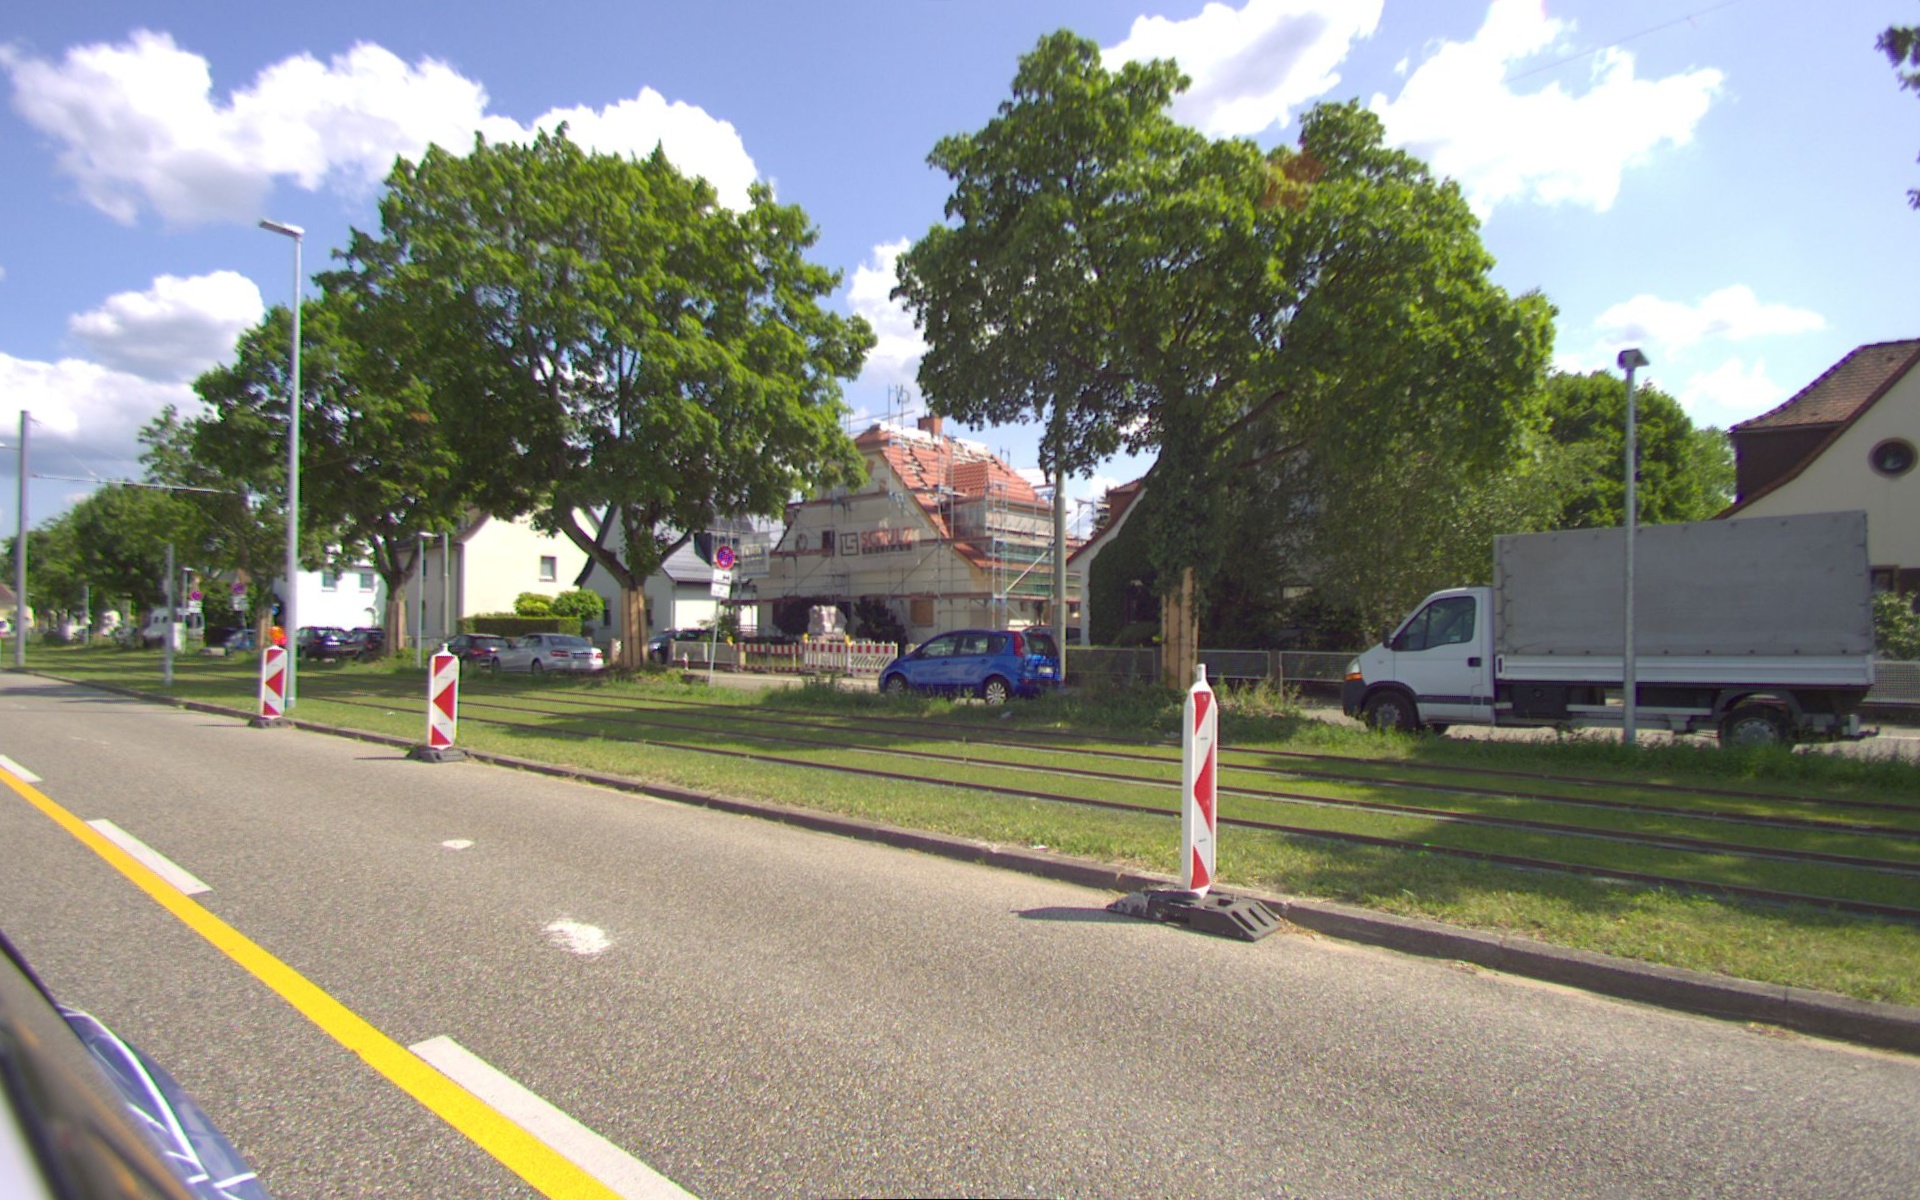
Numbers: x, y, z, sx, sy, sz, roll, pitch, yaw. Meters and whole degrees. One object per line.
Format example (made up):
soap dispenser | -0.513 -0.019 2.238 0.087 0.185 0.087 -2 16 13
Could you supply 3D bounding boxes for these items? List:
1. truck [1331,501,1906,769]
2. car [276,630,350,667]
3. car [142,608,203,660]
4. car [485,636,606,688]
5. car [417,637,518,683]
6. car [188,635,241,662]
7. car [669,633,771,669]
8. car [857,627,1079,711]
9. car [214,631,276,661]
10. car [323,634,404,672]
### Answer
truck | 8.306 0.460 13.396 5.971 2.802 2.242 -2 -3 41
car | -29.486 2.232 46.069 4.403 1.584 1.680 -3 -3 41
car | -49.507 2.171 63.602 5.080 3.061 2.108 -3 -3 41
car | -13.091 1.938 31.833 4.520 1.497 1.765 -4 -3 42
car | -17.513 2.126 35.888 4.403 1.497 1.680 -3 -3 41
car | -44.468 2.884 60.325 4.403 1.497 1.680 -3 -3 41
car | -10.918 2.300 46.205 1.702 1.497 4.345 -3 -3 41
car | 0.073 1.357 20.273 4.403 1.497 1.680 -3 -3 41
car | -37.485 2.436 53.045 4.403 1.497 1.680 -3 -3 41
car | -25.172 2.261 42.646 4.403 1.497 1.680 -3 -3 41
